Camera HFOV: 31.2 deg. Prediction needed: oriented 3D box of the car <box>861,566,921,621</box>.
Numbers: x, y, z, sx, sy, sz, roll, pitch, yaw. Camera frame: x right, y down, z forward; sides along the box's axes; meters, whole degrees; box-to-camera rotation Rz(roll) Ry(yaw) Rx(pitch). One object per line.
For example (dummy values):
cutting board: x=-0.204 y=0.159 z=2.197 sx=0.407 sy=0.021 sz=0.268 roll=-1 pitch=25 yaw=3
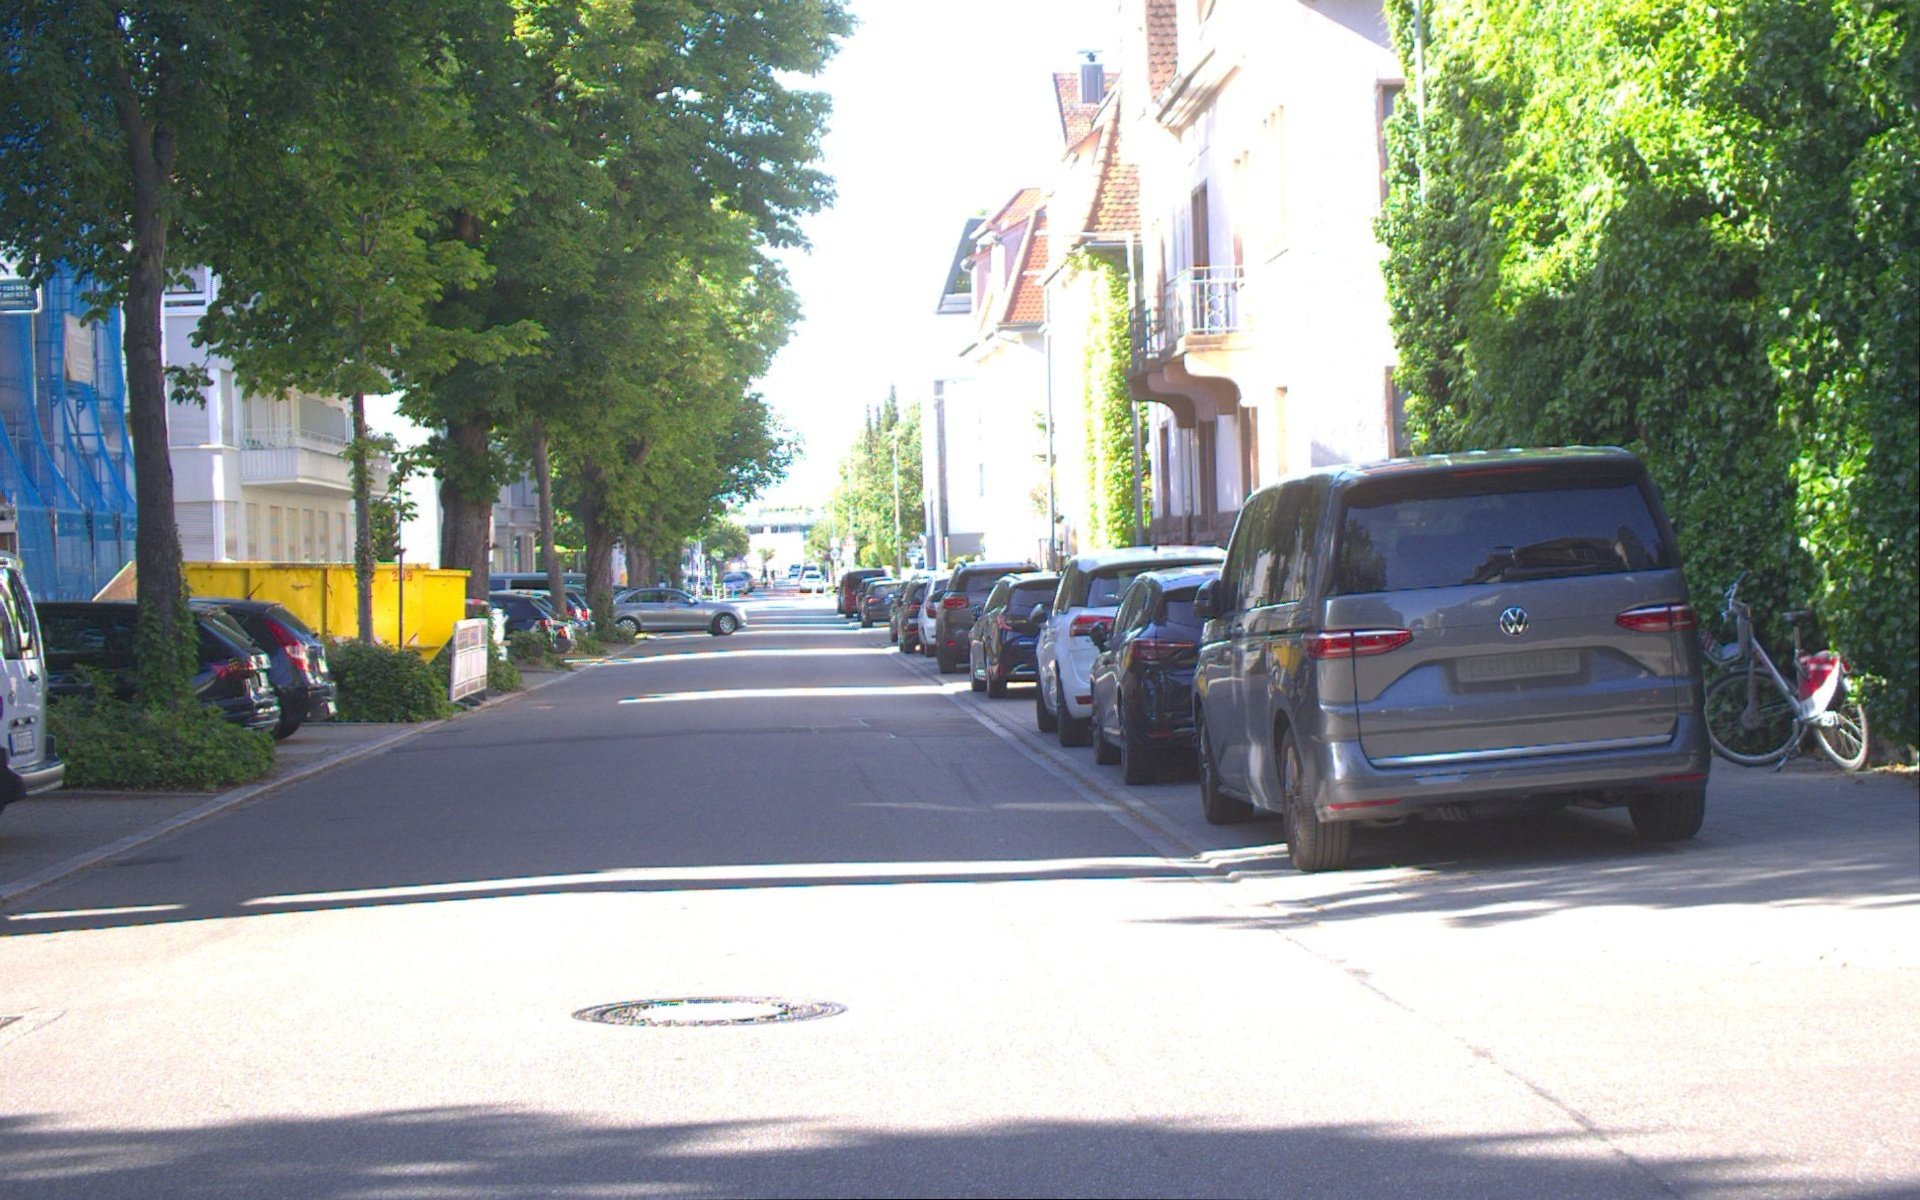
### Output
car: x=-2.165 y=-0.219 z=106.552 sx=1.771 sy=1.626 sz=3.866 roll=-2 pitch=0 yaw=-2

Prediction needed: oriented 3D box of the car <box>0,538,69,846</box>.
car: x=-7.427 y=0.512 z=20.248 sx=3.986 sy=1.755 sz=1.798 roll=0 pitch=0 yaw=-6

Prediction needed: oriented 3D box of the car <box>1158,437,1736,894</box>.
car: x=2.280 y=0.254 z=17.443 sx=1.904 sy=1.864 sz=4.674 roll=-4 pitch=1 yaw=-3

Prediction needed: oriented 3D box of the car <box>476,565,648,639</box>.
car: x=-9.798 y=0.040 z=84.833 sx=4.006 sy=1.729 sz=1.894 roll=1 pitch=1 yaw=0

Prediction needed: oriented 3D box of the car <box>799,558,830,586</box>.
car: x=-8.687 y=-1.679 z=205.893 sx=1.771 sy=1.625 sz=3.866 roll=-2 pitch=1 yaw=-2

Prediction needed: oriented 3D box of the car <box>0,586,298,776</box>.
car: x=-7.794 y=0.691 z=29.150 sx=3.987 sy=1.464 sz=1.864 roll=-2 pitch=1 yaw=-1

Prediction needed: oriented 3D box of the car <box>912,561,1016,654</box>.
car: x=0.047 y=0.110 z=64.500 sx=1.771 sy=1.625 sz=3.866 roll=-2 pitch=1 yaw=-2

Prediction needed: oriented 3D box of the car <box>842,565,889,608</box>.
car: x=-3.712 y=-0.535 z=135.142 sx=1.771 sy=1.625 sz=3.866 roll=-2 pitch=1 yaw=-2

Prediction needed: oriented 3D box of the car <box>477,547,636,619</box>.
car: x=-10.716 y=-0.455 z=91.510 sx=4.006 sy=1.835 sz=2.000 roll=1 pitch=1 yaw=0

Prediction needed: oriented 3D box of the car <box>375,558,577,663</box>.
car: x=-10.035 y=0.208 z=71.115 sx=3.986 sy=2.007 sz=2.000 roll=-2 pitch=0 yaw=-11

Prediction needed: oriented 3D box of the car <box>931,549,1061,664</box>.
car: x=0.517 y=0.069 z=52.188 sx=1.771 sy=1.625 sz=3.866 roll=-2 pitch=1 yaw=-2

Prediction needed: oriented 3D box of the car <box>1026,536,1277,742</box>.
car: x=1.583 y=0.290 z=29.635 sx=1.789 sy=1.612 sz=3.866 roll=-2 pitch=1 yaw=-2

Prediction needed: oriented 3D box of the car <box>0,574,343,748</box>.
car: x=-8.166 y=0.589 z=34.037 sx=3.986 sy=1.546 sz=1.838 roll=-2 pitch=1 yaw=-11

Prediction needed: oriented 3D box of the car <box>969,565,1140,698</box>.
car: x=1.082 y=0.337 z=40.883 sx=1.771 sy=1.450 sz=3.866 roll=-2 pitch=1 yaw=-2

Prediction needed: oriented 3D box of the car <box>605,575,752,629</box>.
car: x=-7.984 y=0.052 z=97.353 sx=3.986 sy=1.404 sz=1.702 roll=-2 pitch=1 yaw=-10

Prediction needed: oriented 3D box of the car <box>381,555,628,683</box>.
car: x=-7.742 y=0.304 z=58.297 sx=3.986 sy=2.007 sz=2.000 roll=-2 pitch=0 yaw=-11

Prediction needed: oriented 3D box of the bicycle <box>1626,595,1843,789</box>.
bicycle: x=4.464 y=0.498 z=19.978 sx=0.588 sy=1.020 sz=2.370 roll=-2 pitch=1 yaw=-3

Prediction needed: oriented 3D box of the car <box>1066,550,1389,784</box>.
car: x=1.802 y=0.412 z=24.278 sx=1.690 sy=1.394 sz=3.806 roll=-5 pitch=1 yaw=-3

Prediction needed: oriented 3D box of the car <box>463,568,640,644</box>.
car: x=-9.764 y=0.127 z=82.374 sx=4.006 sy=1.729 sz=1.894 roll=1 pitch=1 yaw=0
